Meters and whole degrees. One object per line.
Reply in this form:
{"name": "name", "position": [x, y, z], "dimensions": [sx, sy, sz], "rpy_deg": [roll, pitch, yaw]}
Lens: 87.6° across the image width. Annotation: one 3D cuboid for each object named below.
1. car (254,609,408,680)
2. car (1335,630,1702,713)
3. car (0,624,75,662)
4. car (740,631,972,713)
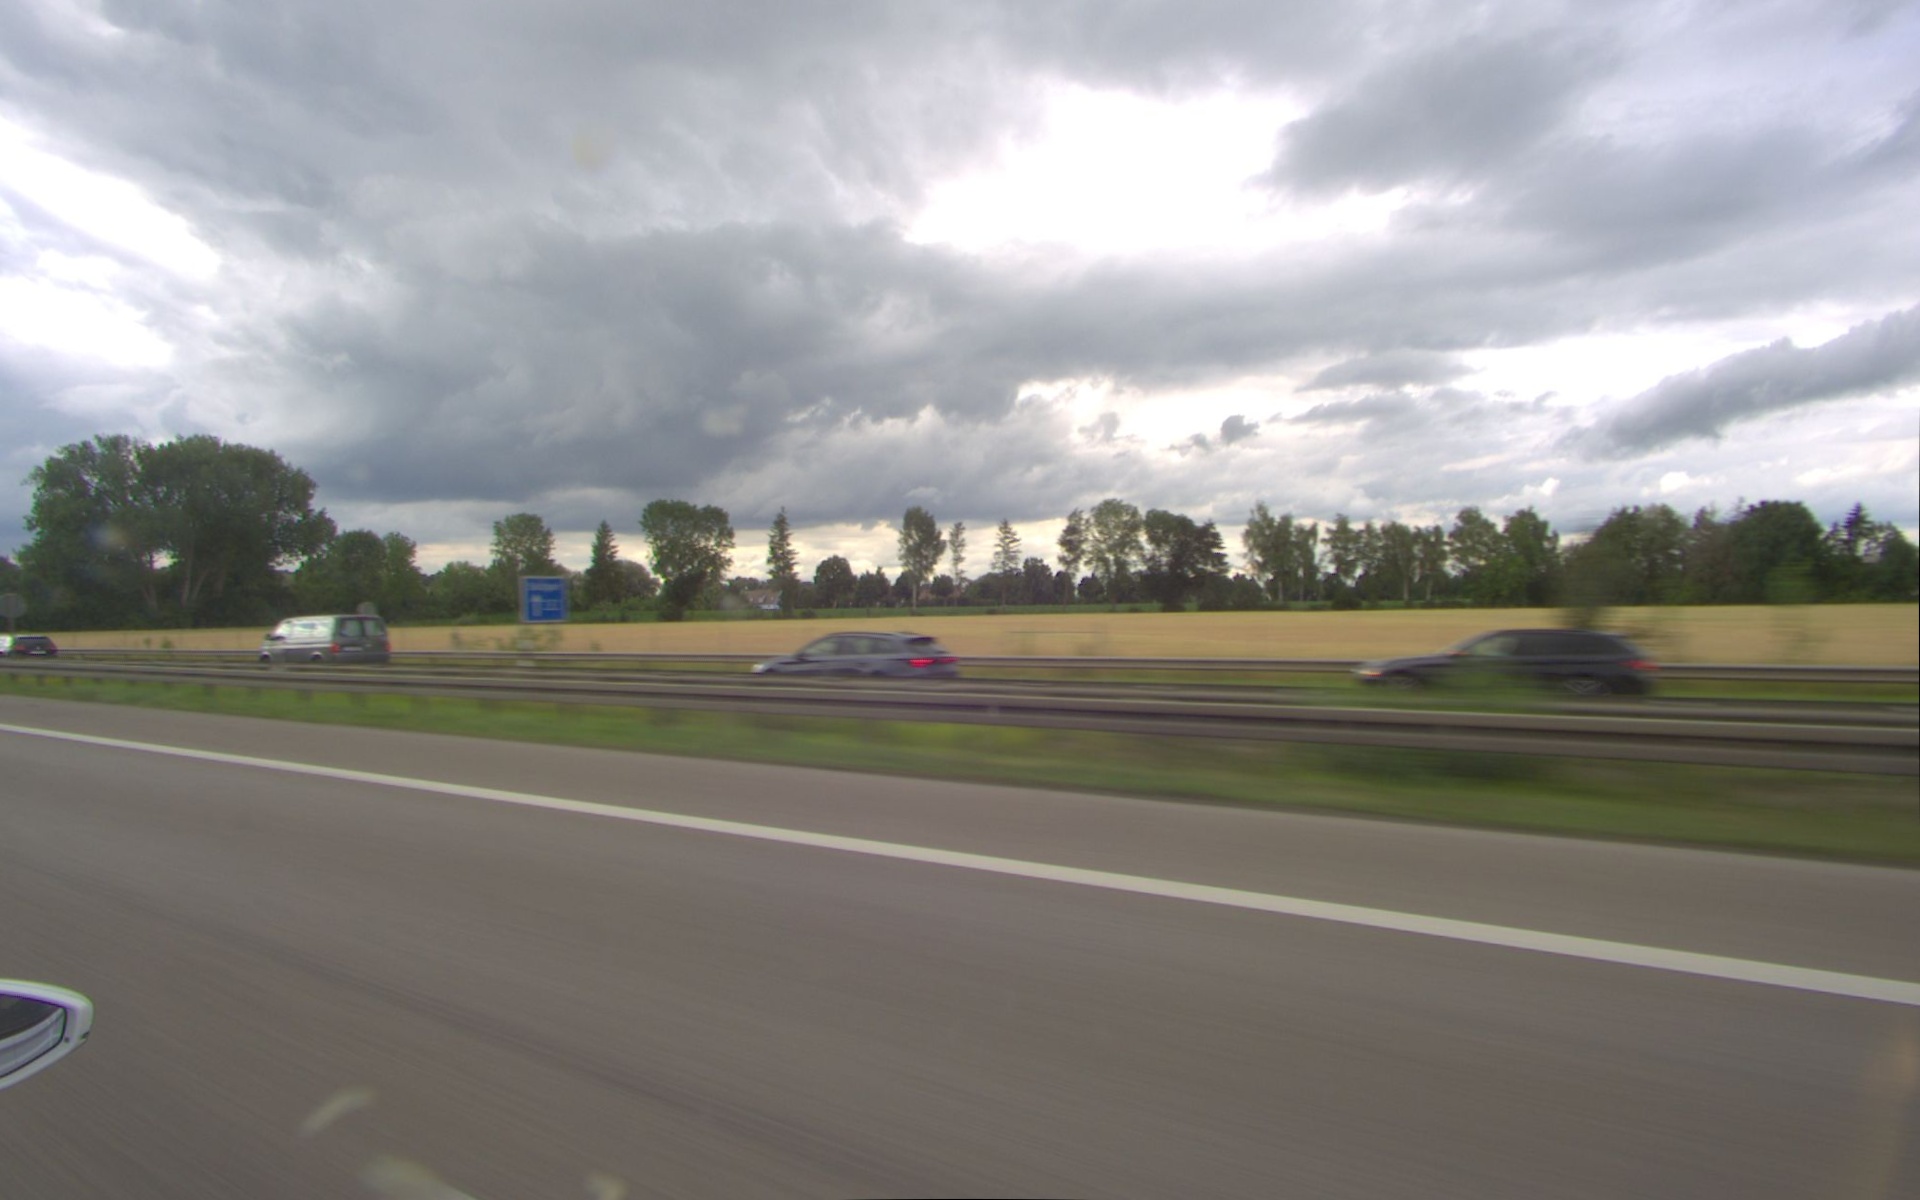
{"name": "car", "position": [-20.099, 1.381, 31.948], "dimensions": [4.883, 2.089, 2.141], "rpy_deg": [-1, -1, 30]}
{"name": "car", "position": [10.010, 1.230, 18.373], "dimensions": [5.633, 1.333, 1.825], "rpy_deg": [-1, -2, 32]}
{"name": "car", "position": [-42.533, 1.934, 45.552], "dimensions": [4.849, 1.571, 1.915], "rpy_deg": [-1, 0, 29]}
{"name": "car", "position": [-2.142, 1.377, 20.166], "dimensions": [4.526, 1.503, 1.748], "rpy_deg": [-1, -2, 31]}
